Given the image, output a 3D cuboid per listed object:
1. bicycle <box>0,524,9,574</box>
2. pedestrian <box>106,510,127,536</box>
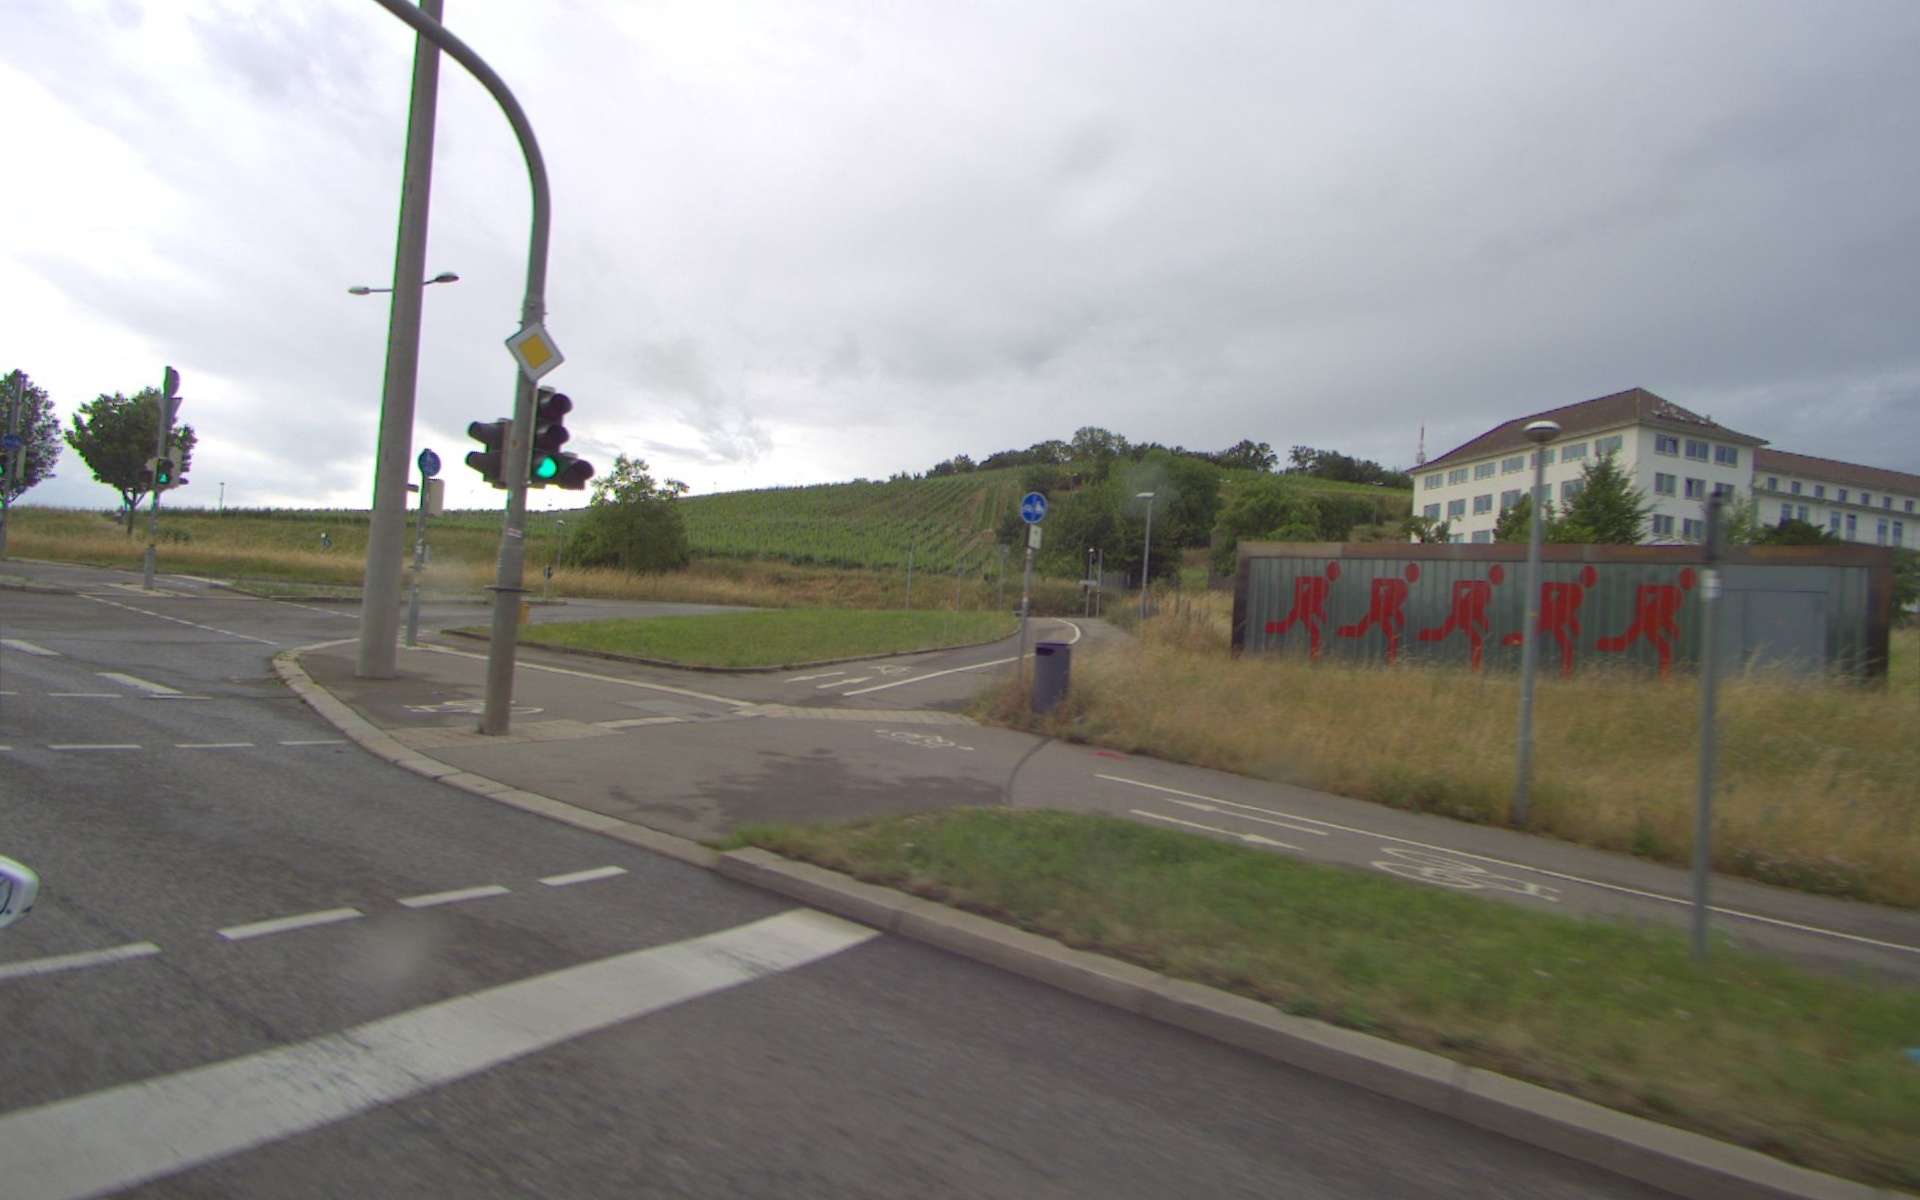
[{"bbox_3d":[-22.552,-1.234,22.816,1.720,1.120,0.634,6,3,17],"label":"bicycle"},{"bbox_3d":[-72.976,-6.660,87.044,1.035,2.039,0.781,6,1,-1],"label":"pedestrian"}]
